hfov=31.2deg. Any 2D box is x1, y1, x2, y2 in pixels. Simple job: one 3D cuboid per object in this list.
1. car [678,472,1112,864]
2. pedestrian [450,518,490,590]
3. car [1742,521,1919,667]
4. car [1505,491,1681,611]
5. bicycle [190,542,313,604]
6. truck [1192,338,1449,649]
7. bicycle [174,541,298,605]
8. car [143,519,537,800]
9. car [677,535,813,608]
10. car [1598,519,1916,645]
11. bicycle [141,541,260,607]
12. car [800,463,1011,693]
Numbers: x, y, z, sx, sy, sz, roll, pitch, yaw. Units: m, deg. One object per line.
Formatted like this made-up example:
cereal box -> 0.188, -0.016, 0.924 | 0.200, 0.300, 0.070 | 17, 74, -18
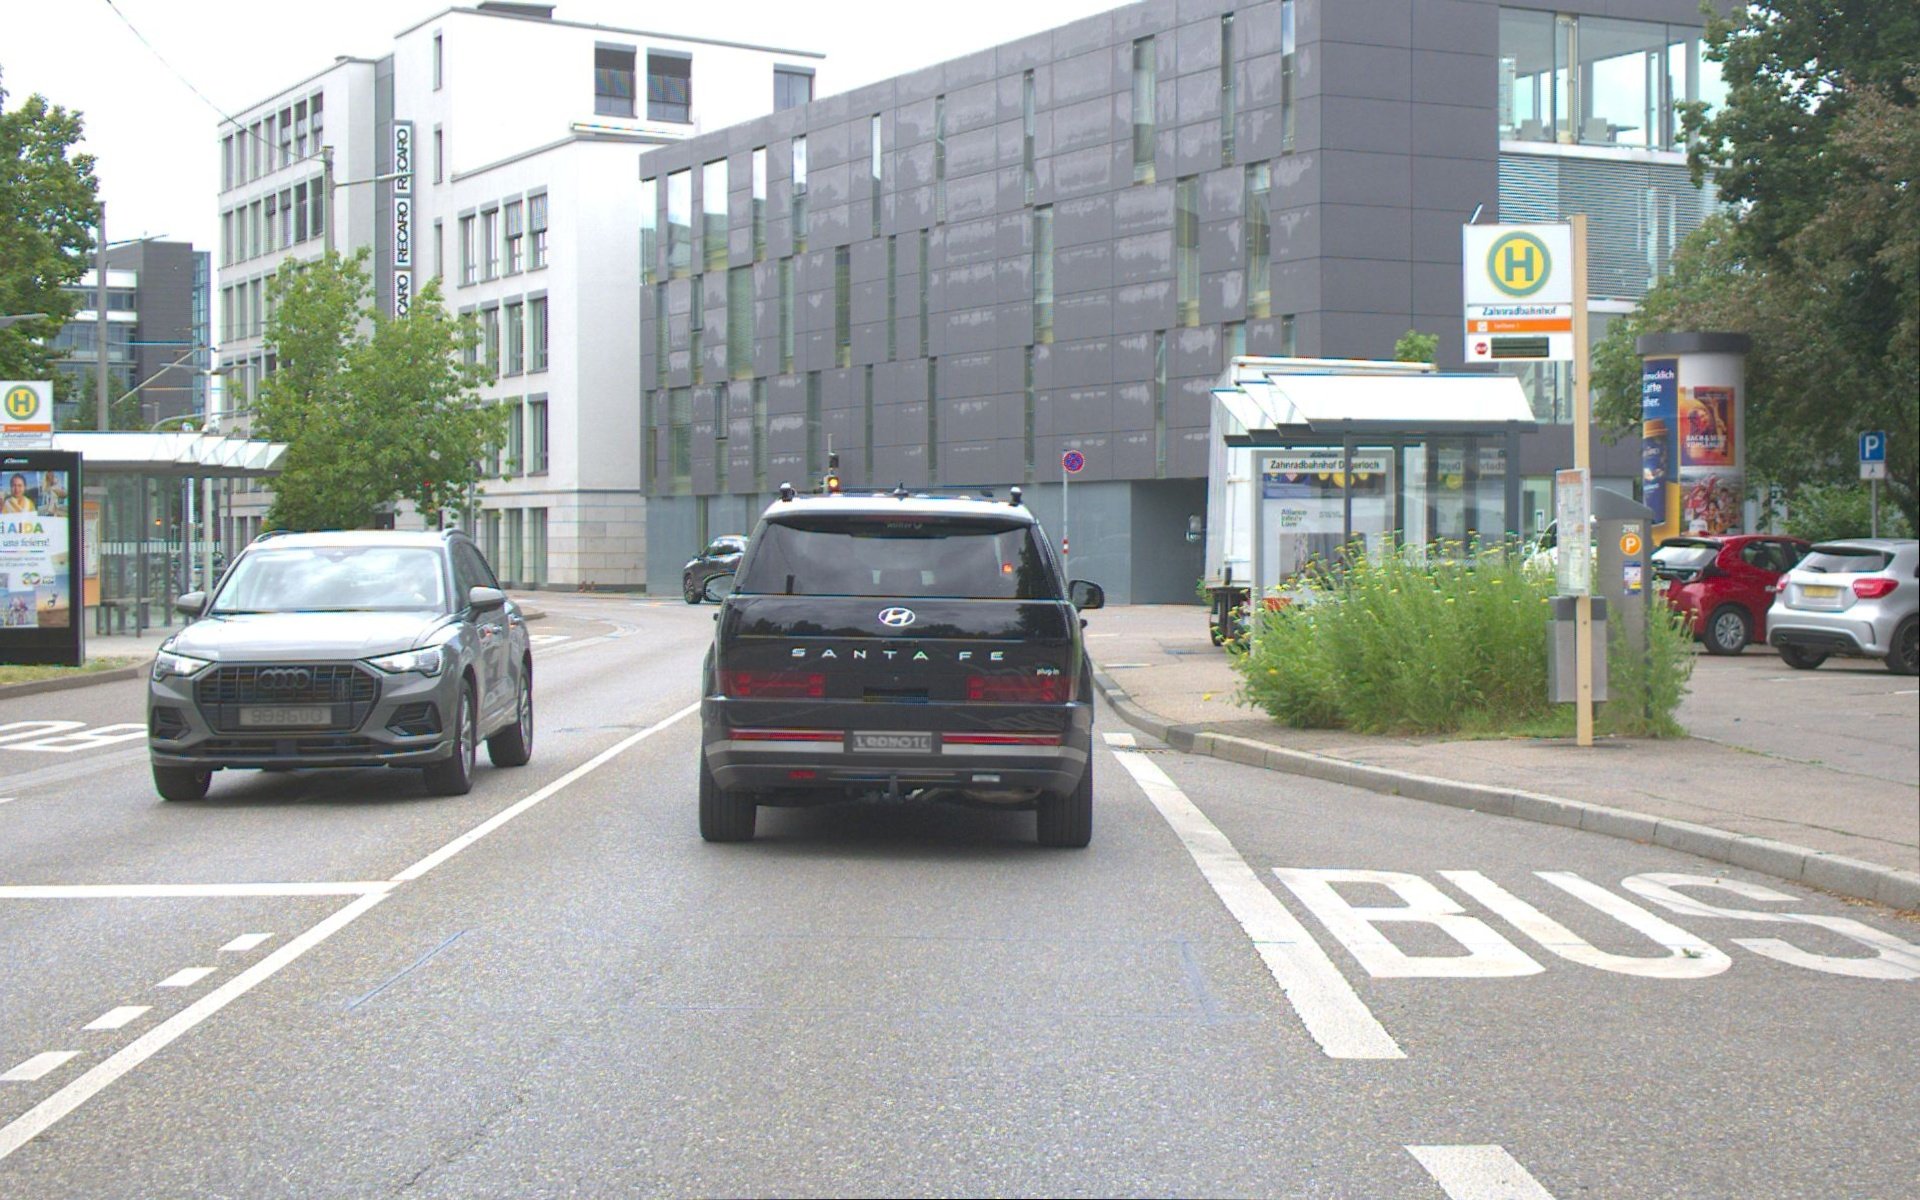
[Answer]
car -> -0.380, 0.263, 17.550 | 1.915, 1.719, 4.171 | 1, 1, -2
pedestrian -> -12.391, -1.166, 86.947 | 0.938, 1.794, 0.591 | -1, 1, -11
car -> 10.386, -0.030, 36.566 | 3.791, 1.468, 1.798 | 2, 0, -30
car -> 10.330, -0.796, 56.404 | 1.993, 1.831, 4.518 | -2, 0, 0
bicycle -> -12.949, -0.493, 62.837 | 2.099, 1.102, 0.631 | 1, 1, 2
truck -> 4.357, -1.295, 42.960 | 2.573, 3.513, 7.810 | 0, 1, 1
bicycle -> -13.067, -0.492, 62.073 | 2.099, 1.102, 0.631 | 1, 1, 2
car -> -3.753, 0.303, 21.492 | 1.739, 1.554, 4.184 | -1, 1, -1
car -> -5.199, -0.677, 82.586 | 1.847, 1.671, 4.376 | -2, 1, -24
car -> 9.686, -0.214, 41.755 | 3.491, 1.450, 1.681 | 1, 0, -28
bicycle -> -13.221, -0.457, 59.849 | 1.928, 1.102, 0.587 | 1, 1, 2
car -> -0.502, -0.253, 32.672 | 1.855, 2.026, 4.437 | 0, 1, -1
